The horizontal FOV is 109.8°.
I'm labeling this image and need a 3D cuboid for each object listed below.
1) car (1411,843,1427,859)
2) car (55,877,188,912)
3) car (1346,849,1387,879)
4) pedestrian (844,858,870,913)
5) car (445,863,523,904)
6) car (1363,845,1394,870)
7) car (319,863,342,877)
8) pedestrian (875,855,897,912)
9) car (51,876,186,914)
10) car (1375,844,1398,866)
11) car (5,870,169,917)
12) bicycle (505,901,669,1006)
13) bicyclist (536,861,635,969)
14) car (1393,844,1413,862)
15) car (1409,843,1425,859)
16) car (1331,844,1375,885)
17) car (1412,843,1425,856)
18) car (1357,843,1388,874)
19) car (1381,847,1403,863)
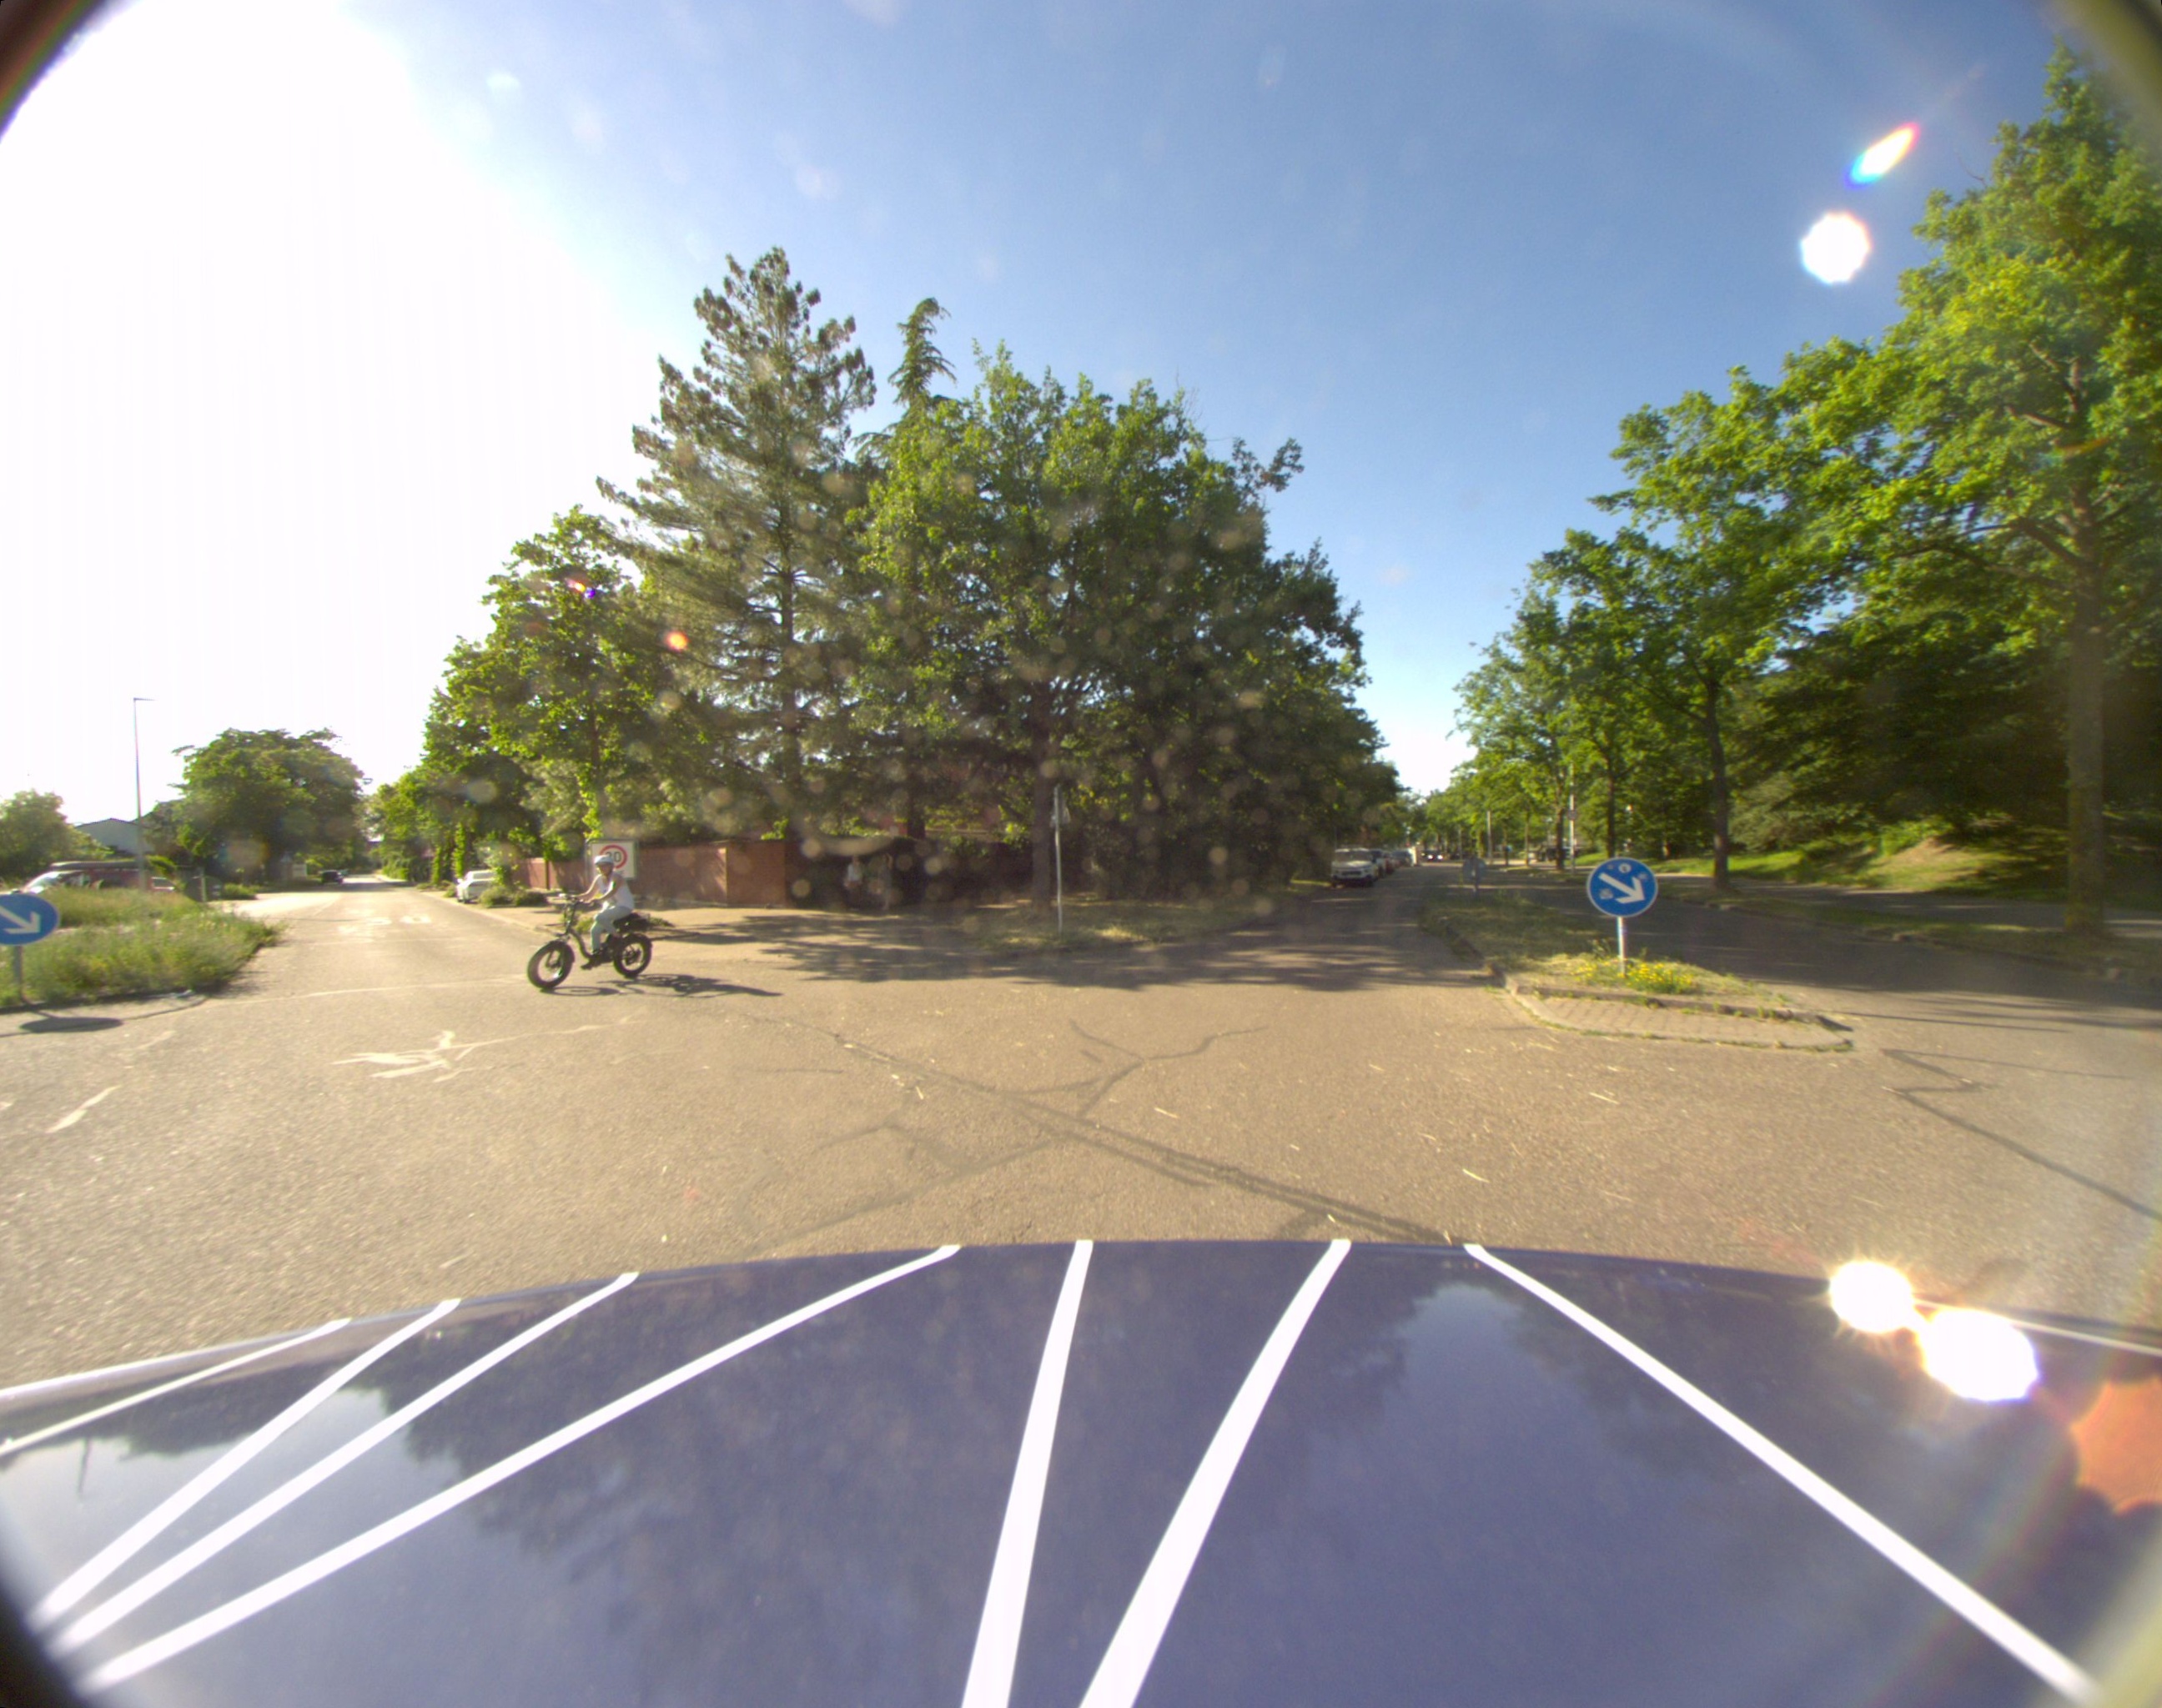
[{"bbox_3d":[37.983,-0.345,85.320,1.447,1.644,3.726,-2,0,26],"label":"car"},{"bbox_3d":[-44.774,1.843,35.550,1.676,1.408,3.541,-1,1,25],"label":"car"},{"bbox_3d":[15.326,0.490,40.701,1.719,1.436,4.622,-3,-1,24],"label":"car"},{"bbox_3d":[-6.184,0.861,21.002,0.395,1.512,0.539,0,1,23],"label":"pedestrian"},{"bbox_3d":[-26.897,1.281,34.201,3.988,1.649,2.004,0,1,42],"label":"car"},{"bbox_3d":[20.645,0.229,52.696,1.769,1.629,3.759,-2,0,24],"label":"car"},{"bbox_3d":[-100.003,2.133,101.221,2.004,1.805,3.988,-2,1,-43],"label":"car"},{"bbox_3d":[-5.493,0.818,21.370,0.397,1.552,0.537,-1,2,-40],"label":"pedestrian"},{"bbox_3d":[-42.648,1.792,33.741,1.612,1.433,3.400,-1,1,25],"label":"car"},{"bbox_3d":[23.566,0.084,58.596,1.497,1.629,3.759,-2,0,24],"label":"car"},{"bbox_3d":[-40.749,1.568,31.273,1.746,1.707,3.653,-1,1,11],"label":"car"},{"bbox_3d":[-6.499,1.258,10.130,0.457,1.138,1.901,-1,0,21],"label":"bicycle"},{"bbox_3d":[-6.529,0.777,10.035,0.637,1.339,0.839,-1,1,21],"label":"bicyclist"},{"bbox_3d":[30.927,-0.067,73.030,1.497,1.644,4.099,-2,0,26],"label":"car"},{"bbox_3d":[35.828,-0.288,80.988,1.447,1.644,3.726,-2,0,26],"label":"car"},{"bbox_3d":[12.665,0.435,35.258,1.751,1.739,4.641,-2,0,21],"label":"car"},{"bbox_3d":[45.757,-0.637,102.959,1.419,1.644,3.916,-2,0,26],"label":"car"},{"bbox_3d":[17.553,0.250,45.680,1.497,1.744,3.808,-2,0,24],"label":"car"},{"bbox_3d":[27.611,0.073,67.374,1.497,1.351,3.473,-2,0,26],"label":"car"}]
